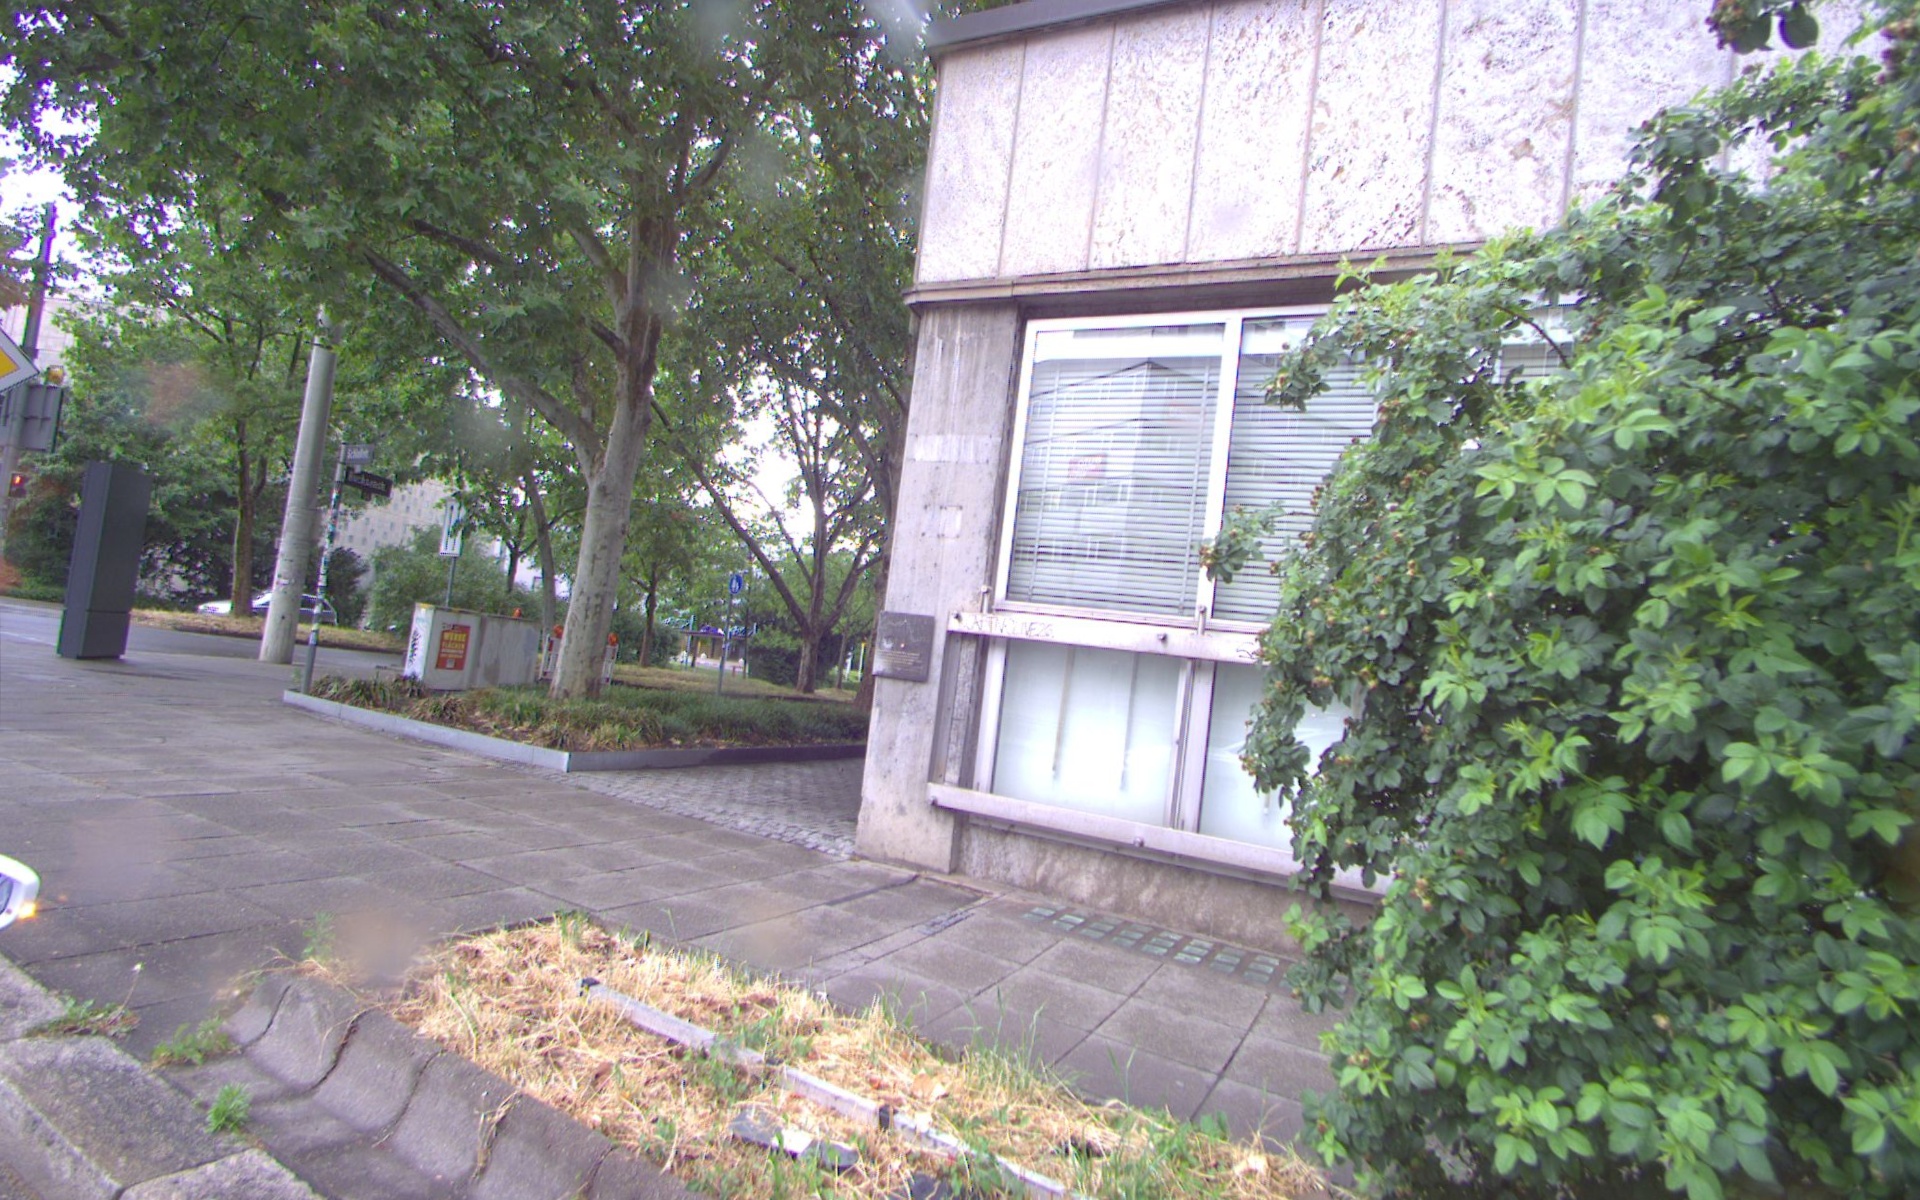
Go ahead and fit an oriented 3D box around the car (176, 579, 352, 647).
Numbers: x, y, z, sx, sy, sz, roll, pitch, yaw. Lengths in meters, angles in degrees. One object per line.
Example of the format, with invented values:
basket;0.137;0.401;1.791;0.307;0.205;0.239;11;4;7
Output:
car;-21.980;0.457;31.954;1.964;1.456;4.007;6;-6;25
